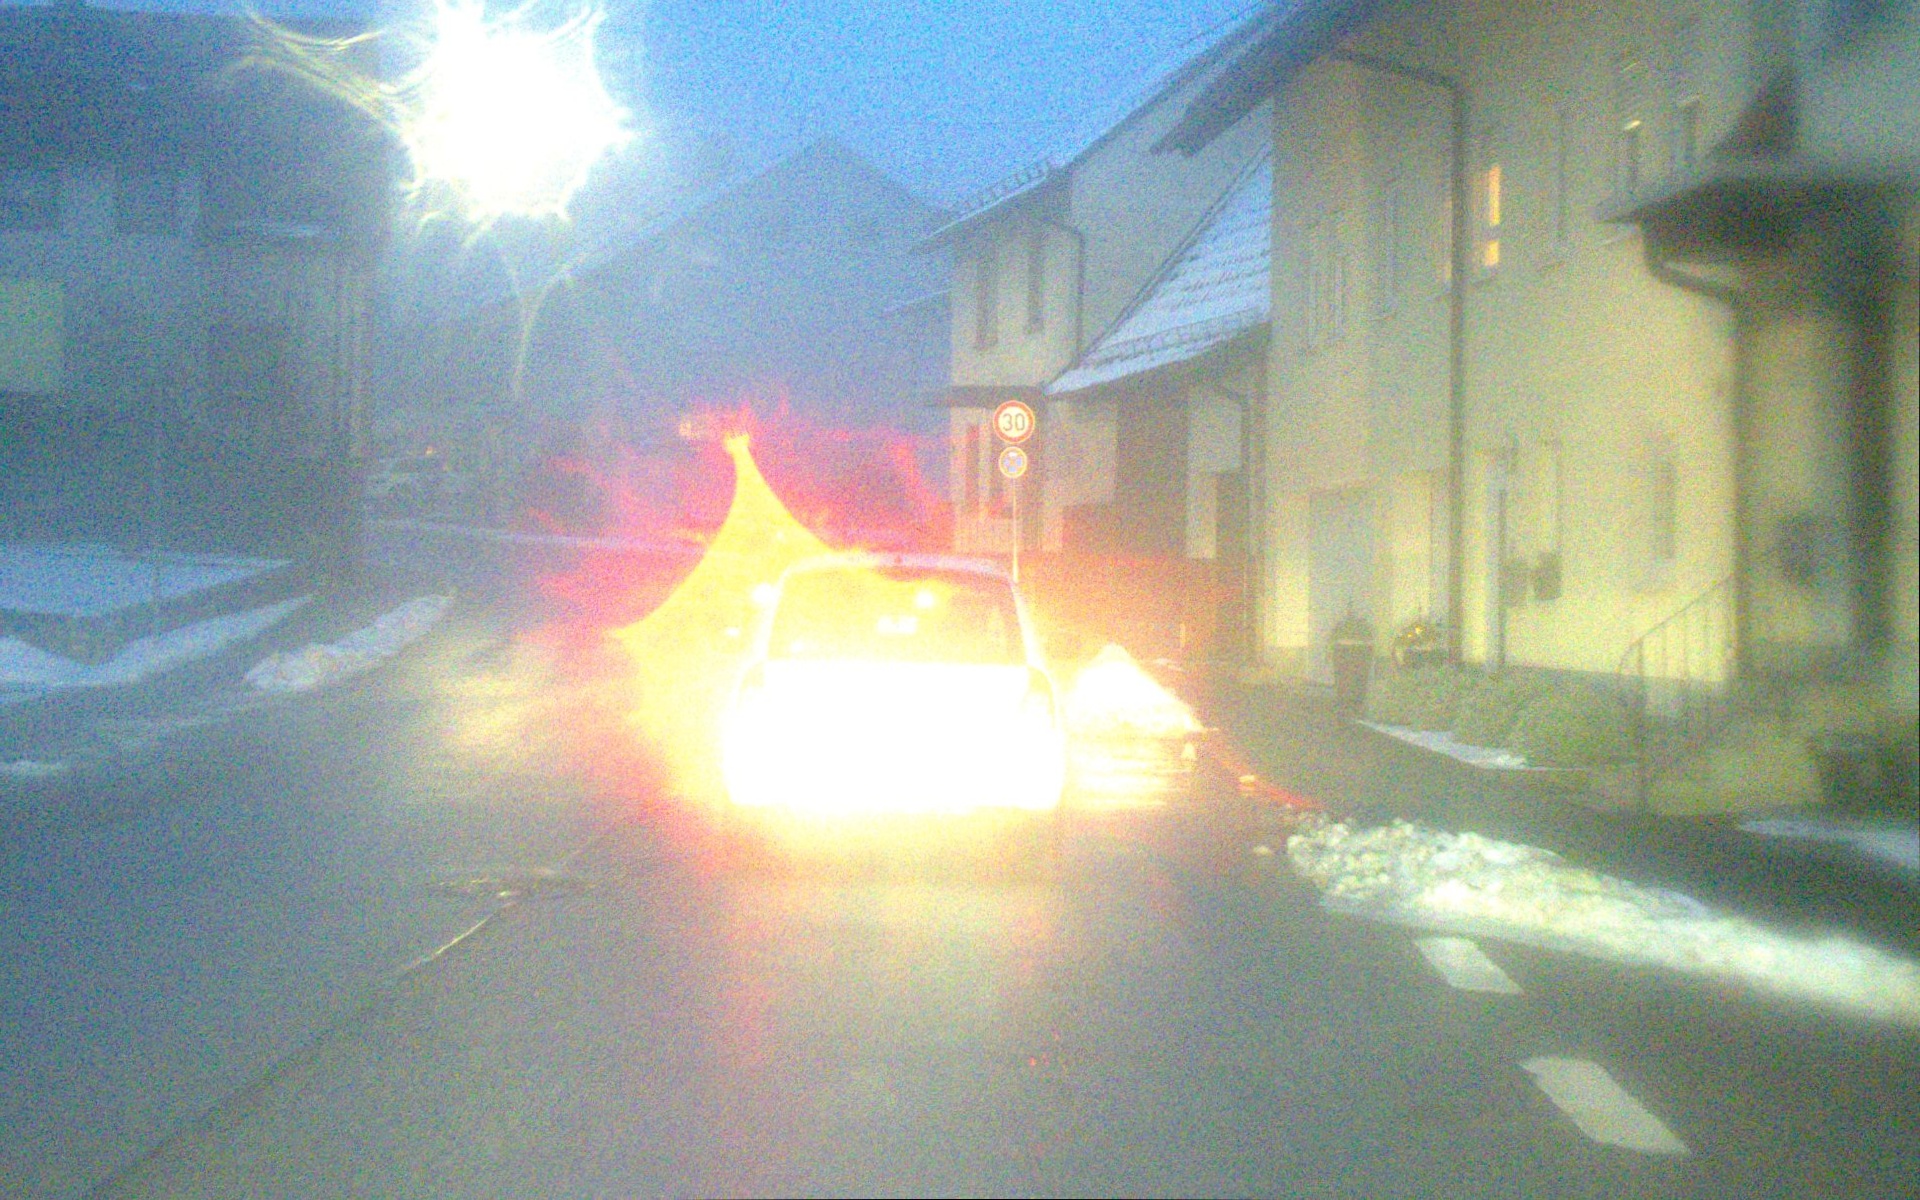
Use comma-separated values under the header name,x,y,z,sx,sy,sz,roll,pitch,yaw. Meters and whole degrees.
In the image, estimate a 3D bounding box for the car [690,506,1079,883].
name,x,y,z,sx,sy,sz,roll,pitch,yaw
car,-0.453,0.412,16.970,1.645,1.590,3.700,3,0,-4

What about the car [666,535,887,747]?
name,x,y,z,sx,sy,sz,roll,pitch,yaw
car,-1.591,0.313,28.757,1.645,1.590,3.700,3,0,-5
